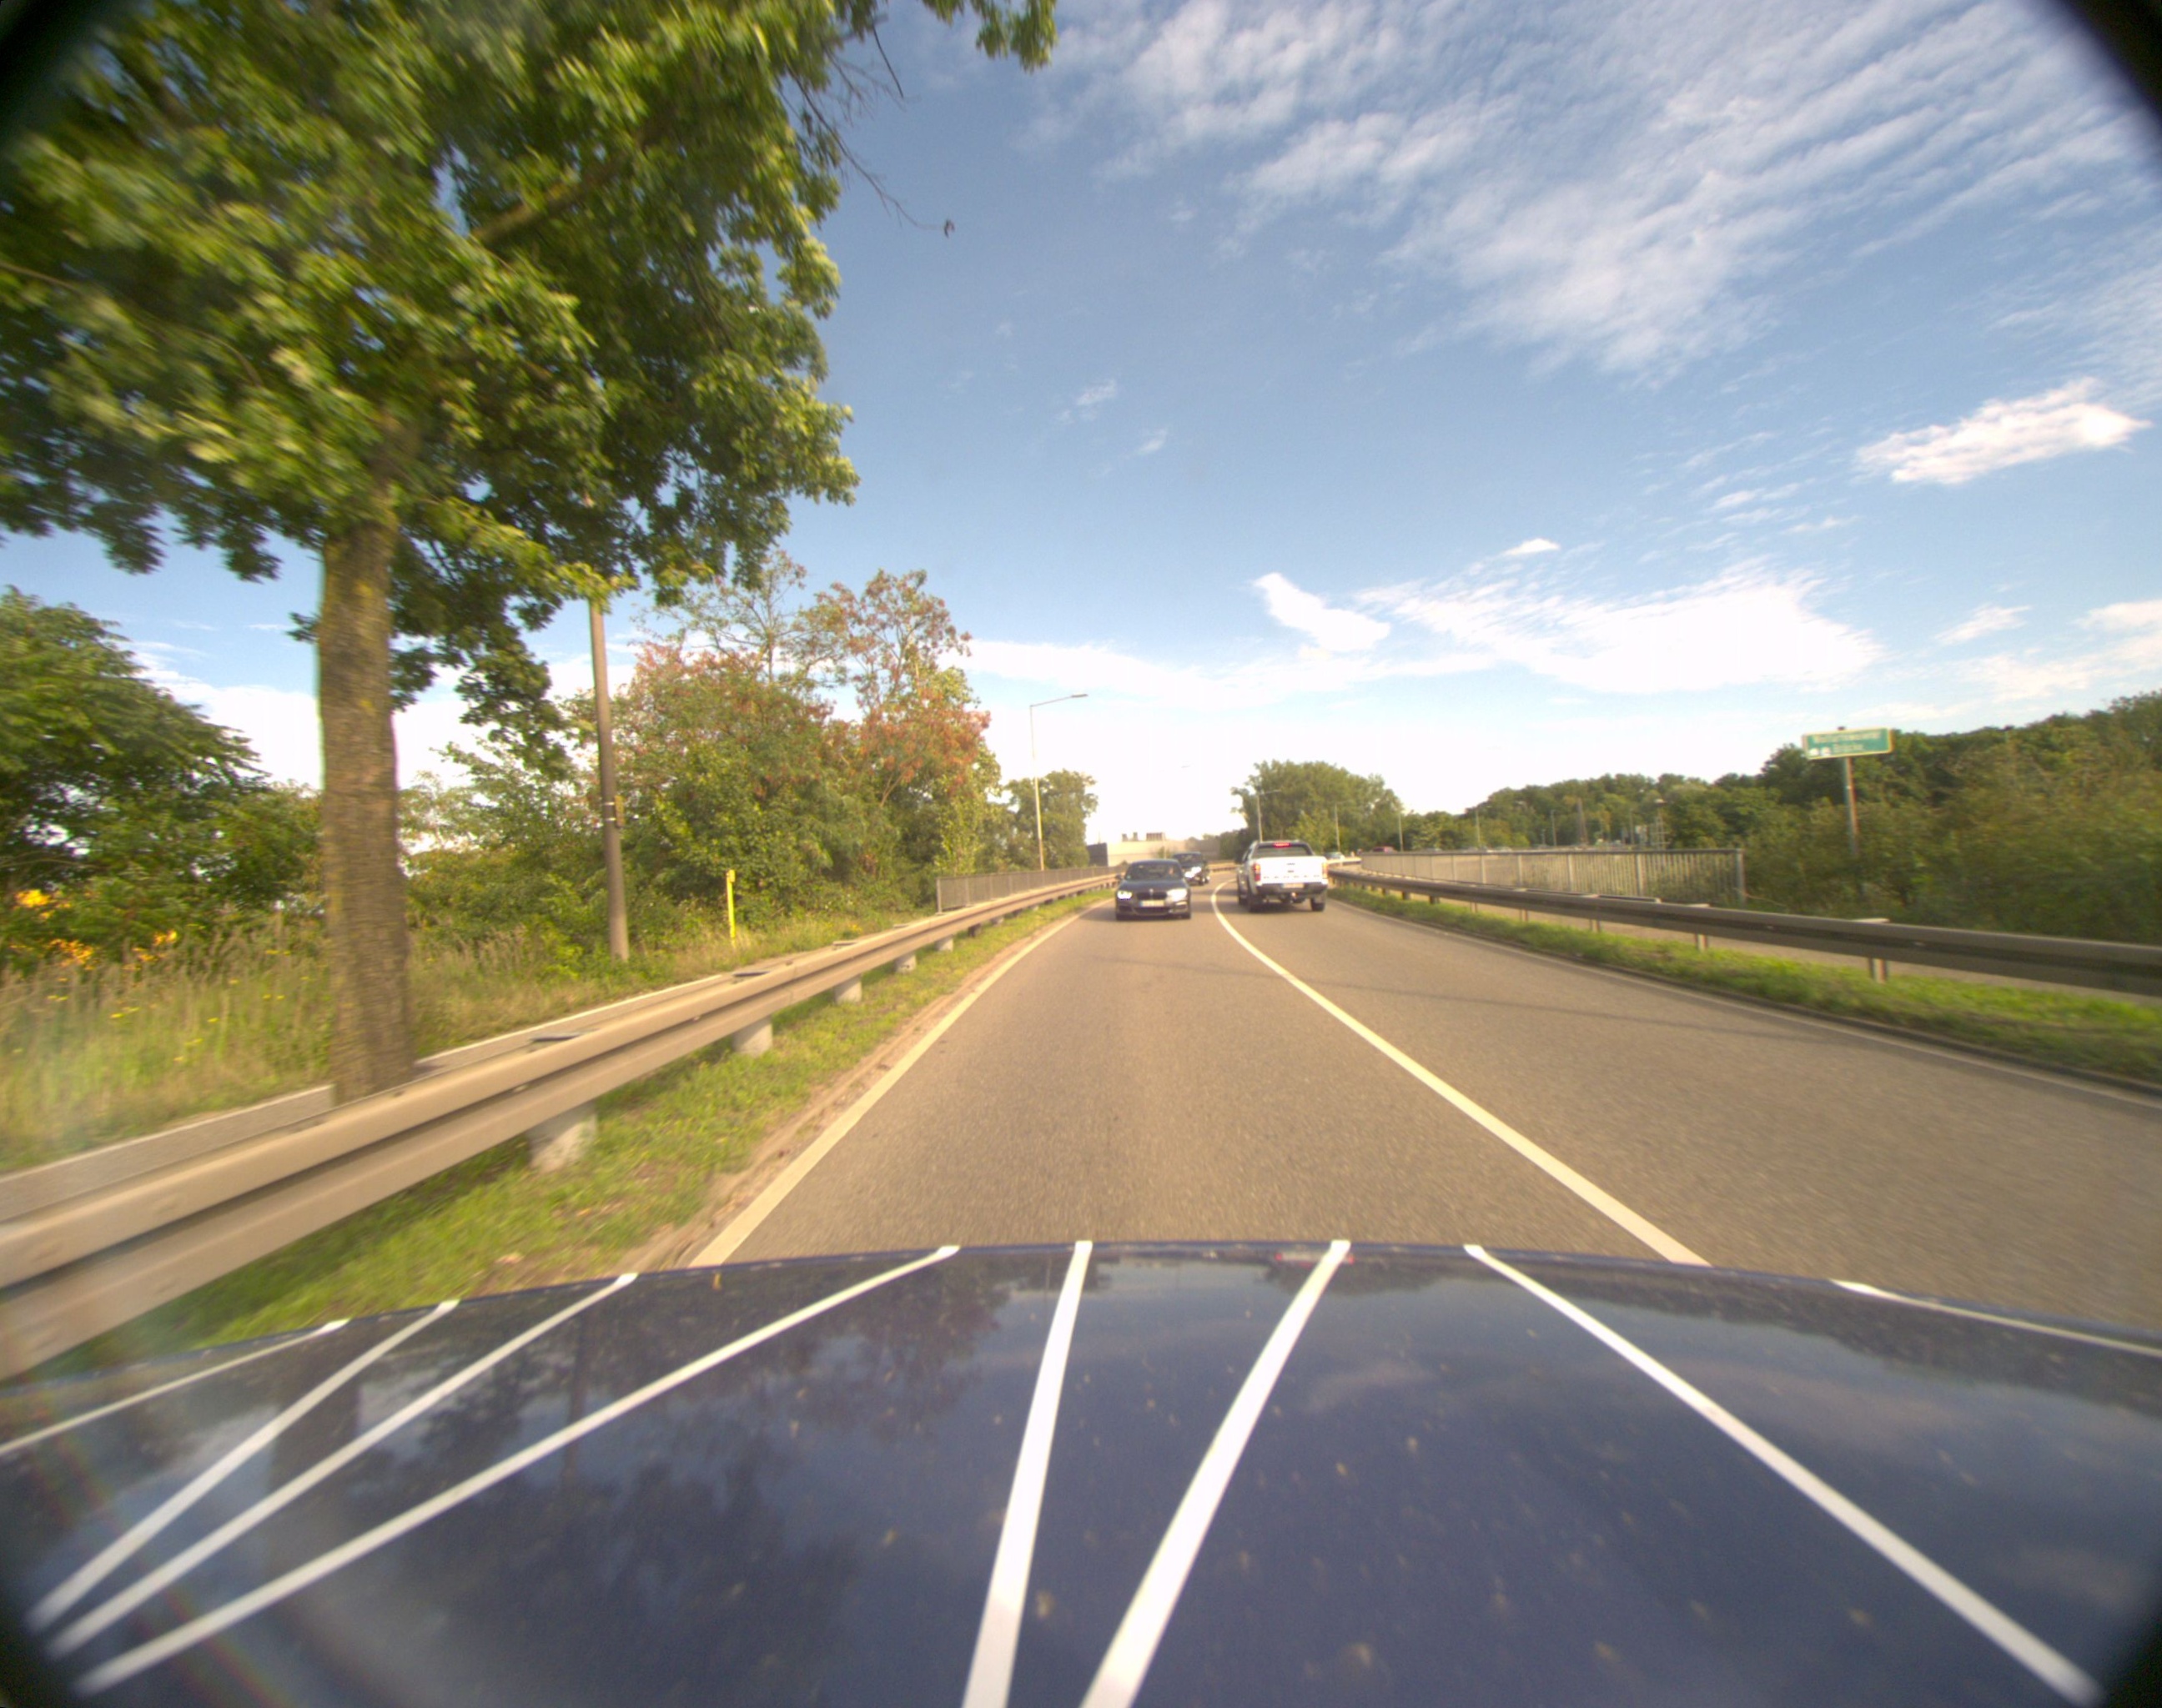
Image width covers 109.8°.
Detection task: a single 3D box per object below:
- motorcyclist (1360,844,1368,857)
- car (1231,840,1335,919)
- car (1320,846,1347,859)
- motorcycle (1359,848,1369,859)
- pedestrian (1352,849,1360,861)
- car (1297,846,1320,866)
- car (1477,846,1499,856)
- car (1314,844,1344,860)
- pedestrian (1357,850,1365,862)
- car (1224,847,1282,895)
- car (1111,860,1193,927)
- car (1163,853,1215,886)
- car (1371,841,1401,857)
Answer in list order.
[{"bbox_3d":[32.716,-0.422,87.944,0.620,1.544,0.939,-1,1,36],"label":"motorcyclist"},{"bbox_3d":[5.255,0.583,20.478,1.904,1.800,5.406,-2,0,7],"label":"car"},{"bbox_3d":[29.995,-0.214,90.213,1.815,1.498,4.400,-2,0,36],"label":"car"},{"bbox_3d":[32.745,-0.090,87.980,0.620,1.245,1.796,-1,0,35],"label":"motorcycle"},{"bbox_3d":[39.065,0.138,108.011,0.677,1.534,0.962,-2,1,42],"label":"pedestrian"},{"bbox_3d":[19.761,0.185,65.960,1.683,1.639,4.304,-2,0,19],"label":"car"},{"bbox_3d":[63.038,-0.465,117.644,4.085,1.492,1.741,-2,0,-41],"label":"car"},{"bbox_3d":[24.861,-0.193,76.109,1.834,1.457,4.526,-2,0,31],"label":"car"},{"bbox_3d":[39.953,0.317,108.540,0.867,1.652,0.677,-3,1,-44],"label":"pedestrian"},{"bbox_3d":[6.525,0.606,29.195,1.893,1.639,4.645,-2,0,10],"label":"car"},{"bbox_3d":[1.802,0.900,18.949,1.785,1.396,3.972,-2,0,6],"label":"car"},{"bbox_3d":[5.397,0.724,37.514,1.816,1.498,4.396,-2,0,17],"label":"car"},{"bbox_3d":[37.852,-0.632,94.153,2.008,1.892,4.877,-2,0,39],"label":"car"}]
